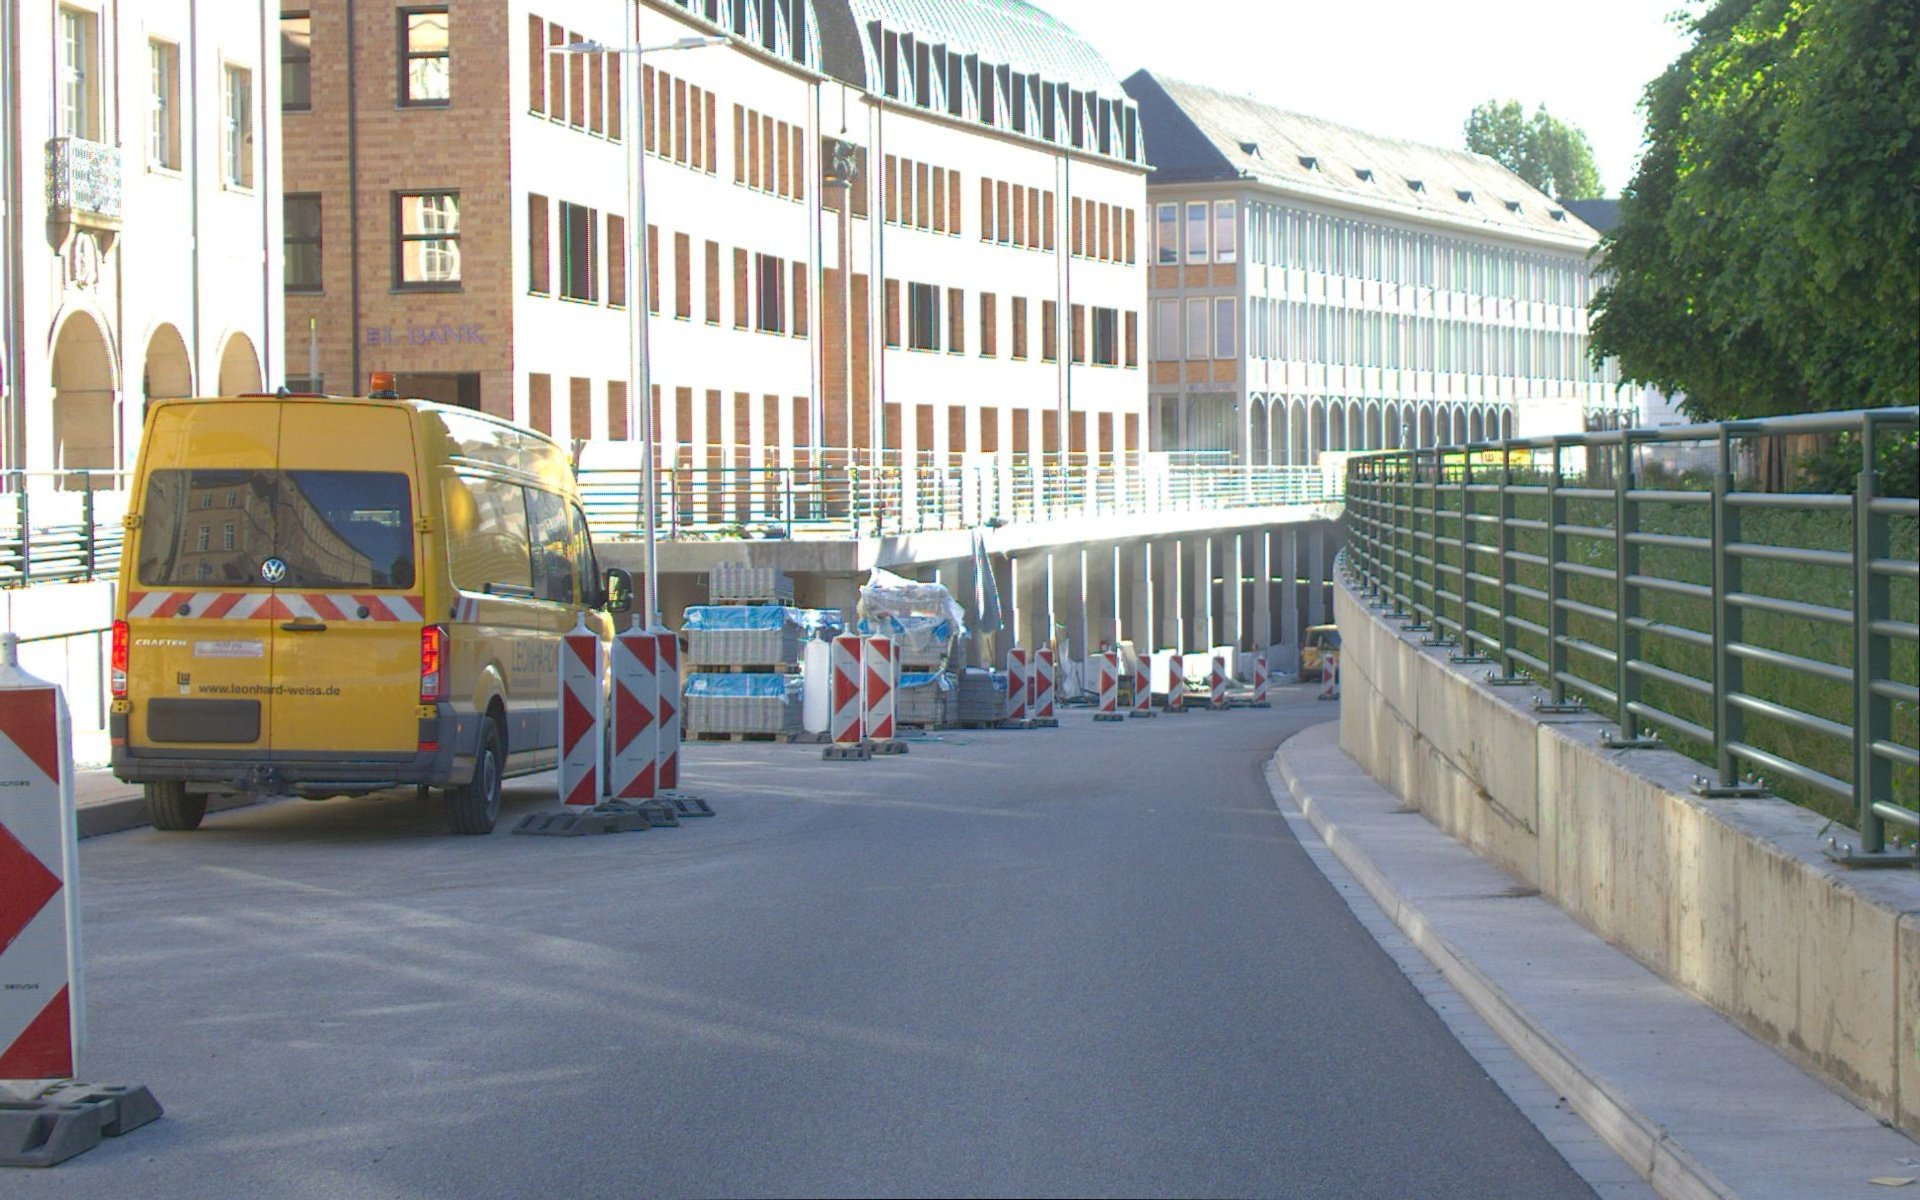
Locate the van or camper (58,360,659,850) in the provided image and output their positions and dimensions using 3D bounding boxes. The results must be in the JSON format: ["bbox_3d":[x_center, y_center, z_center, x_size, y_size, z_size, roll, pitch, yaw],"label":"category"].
[{"bbox_3d":[-3.598,0.048,22.229,2.194,2.603,6.823,2,0,4],"label":"van or camper"}]

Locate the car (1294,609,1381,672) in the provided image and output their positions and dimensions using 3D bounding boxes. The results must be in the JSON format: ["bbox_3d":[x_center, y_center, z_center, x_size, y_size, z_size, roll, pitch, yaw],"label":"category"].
[{"bbox_3d":[11.783,1.230,107.154,1.849,1.769,4.431,1,2,17],"label":"car"}]
